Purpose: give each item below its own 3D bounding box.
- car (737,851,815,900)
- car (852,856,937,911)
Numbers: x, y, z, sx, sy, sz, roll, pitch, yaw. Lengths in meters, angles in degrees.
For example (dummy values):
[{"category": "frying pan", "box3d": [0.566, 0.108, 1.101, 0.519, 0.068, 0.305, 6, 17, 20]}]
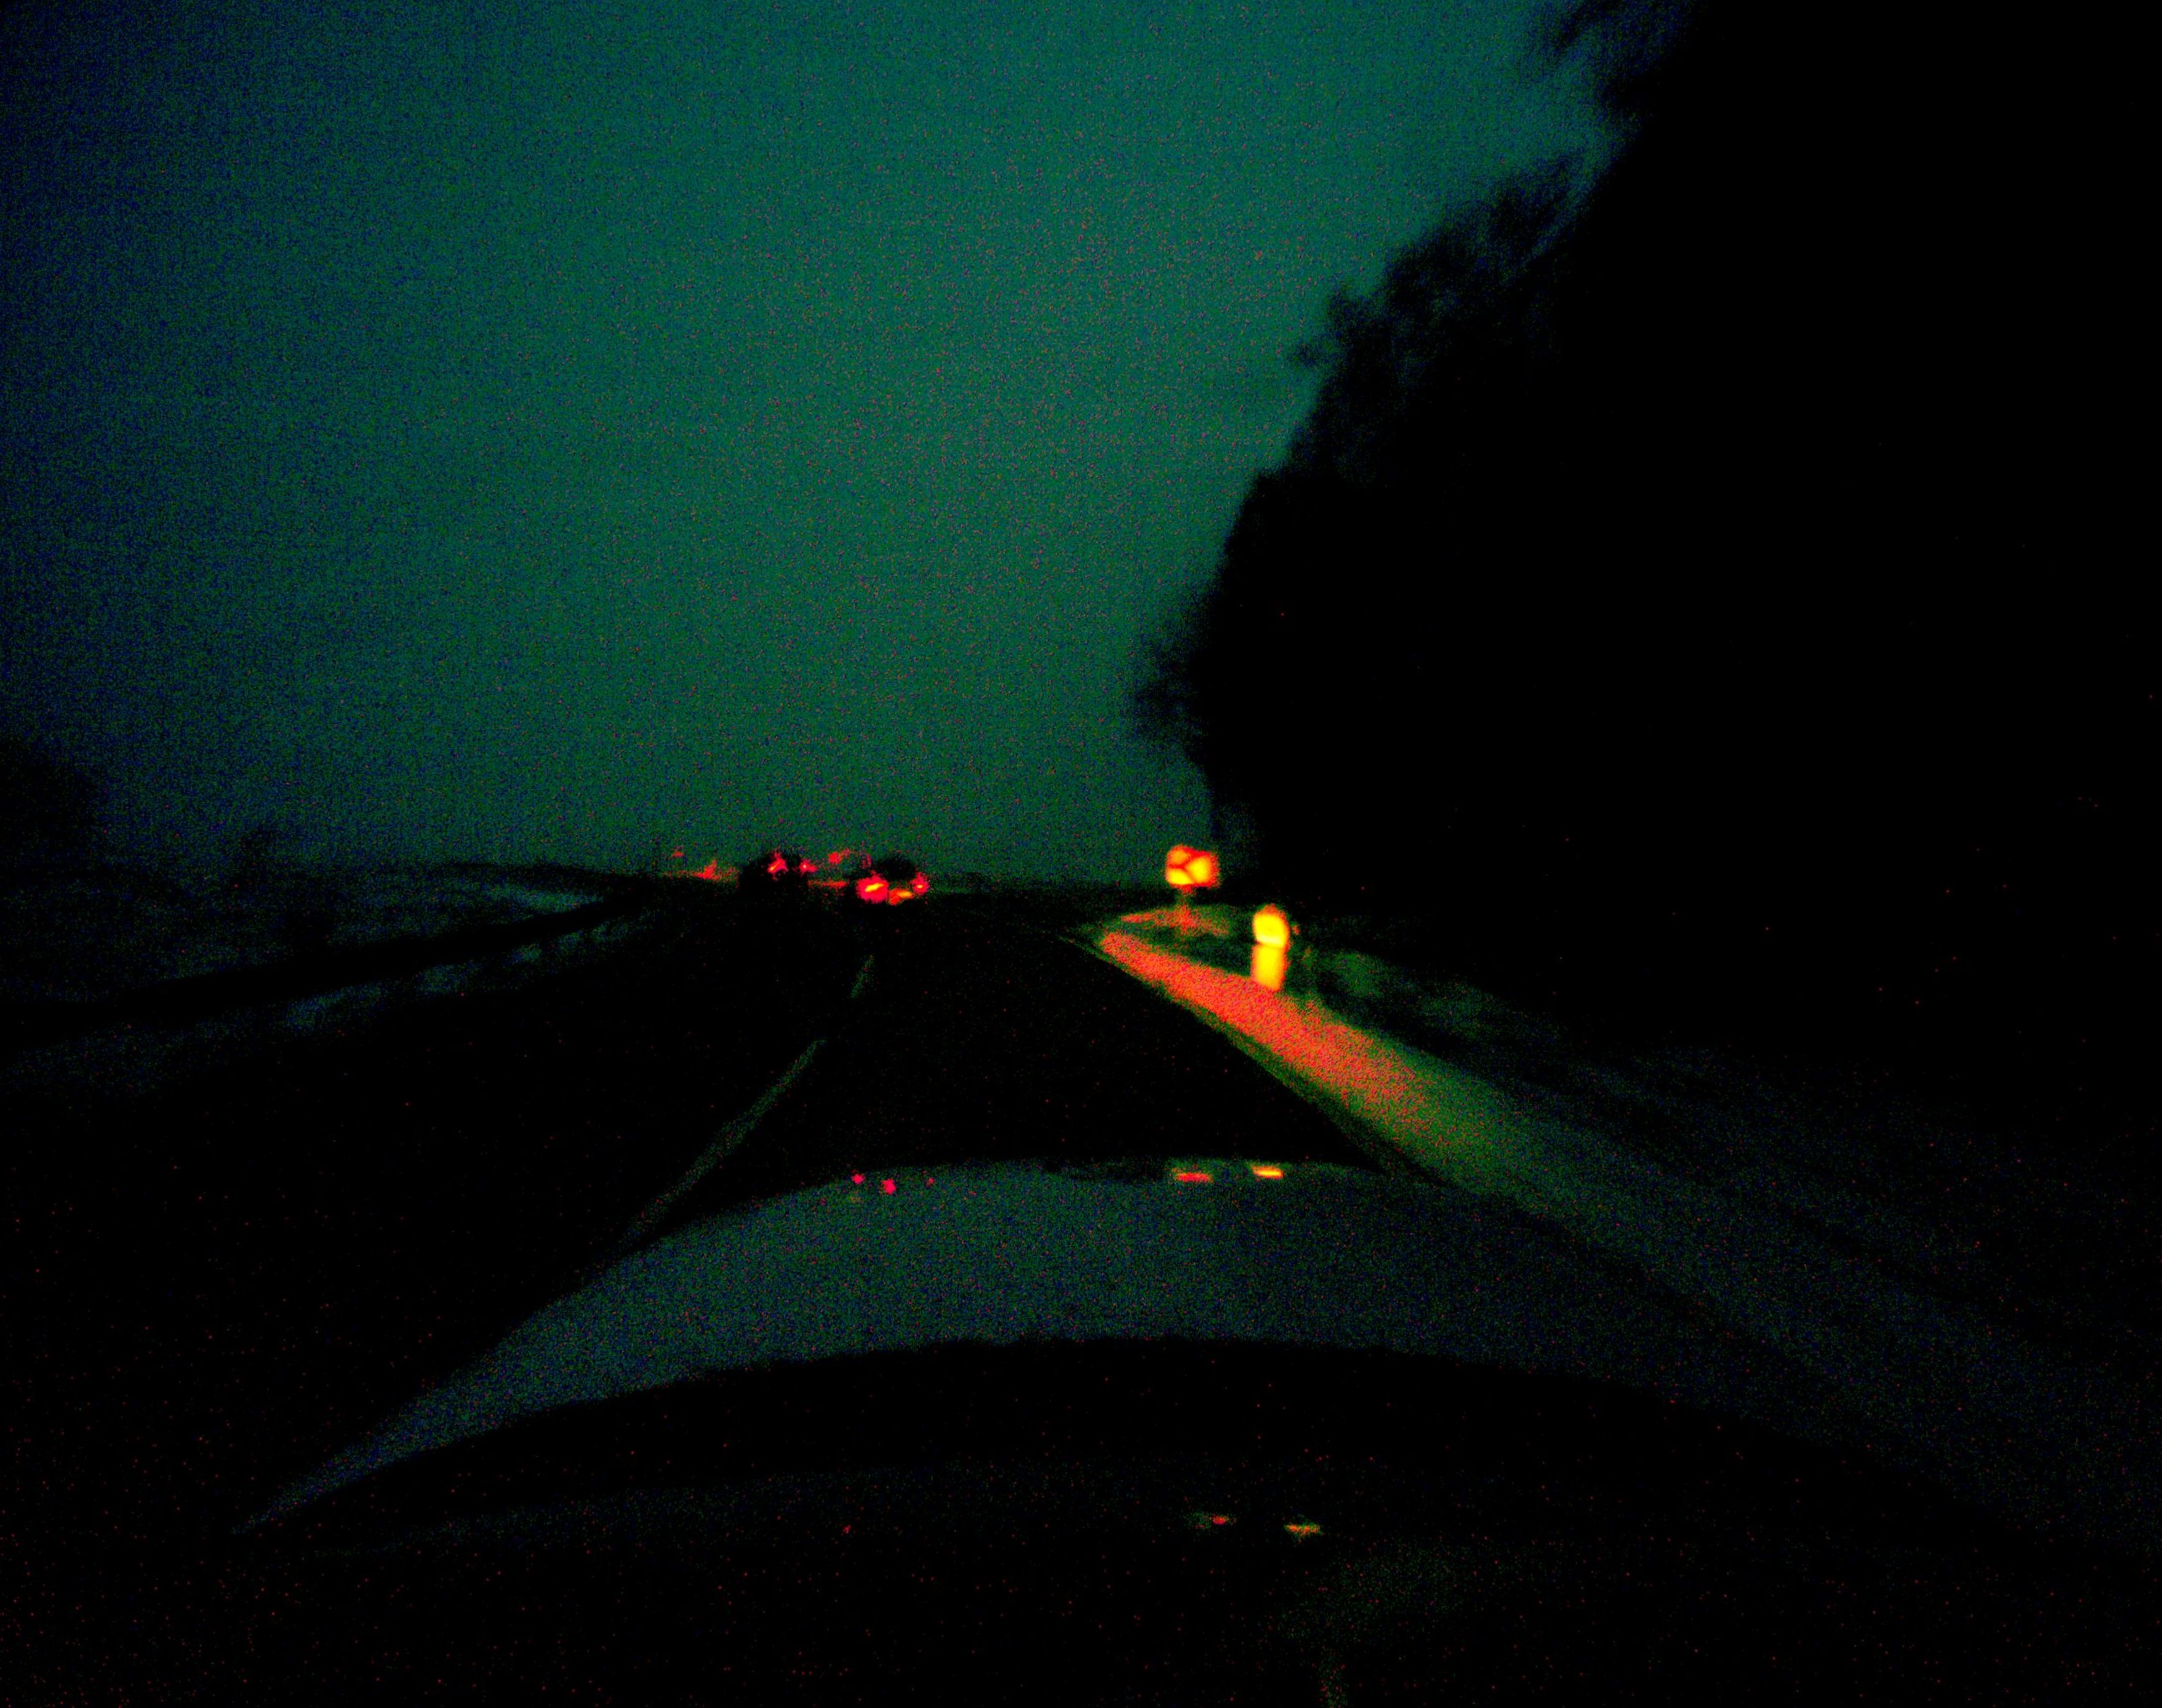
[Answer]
[{"category": "car", "box3d": [-12.318, 0.818, 32.753, 2.008, 1.782, 3.957, -2, 1, -35]}, {"category": "car", "box3d": [-5.442, 0.769, 23.418, 1.952, 1.381, 3.974, -1, 0, -19]}]
